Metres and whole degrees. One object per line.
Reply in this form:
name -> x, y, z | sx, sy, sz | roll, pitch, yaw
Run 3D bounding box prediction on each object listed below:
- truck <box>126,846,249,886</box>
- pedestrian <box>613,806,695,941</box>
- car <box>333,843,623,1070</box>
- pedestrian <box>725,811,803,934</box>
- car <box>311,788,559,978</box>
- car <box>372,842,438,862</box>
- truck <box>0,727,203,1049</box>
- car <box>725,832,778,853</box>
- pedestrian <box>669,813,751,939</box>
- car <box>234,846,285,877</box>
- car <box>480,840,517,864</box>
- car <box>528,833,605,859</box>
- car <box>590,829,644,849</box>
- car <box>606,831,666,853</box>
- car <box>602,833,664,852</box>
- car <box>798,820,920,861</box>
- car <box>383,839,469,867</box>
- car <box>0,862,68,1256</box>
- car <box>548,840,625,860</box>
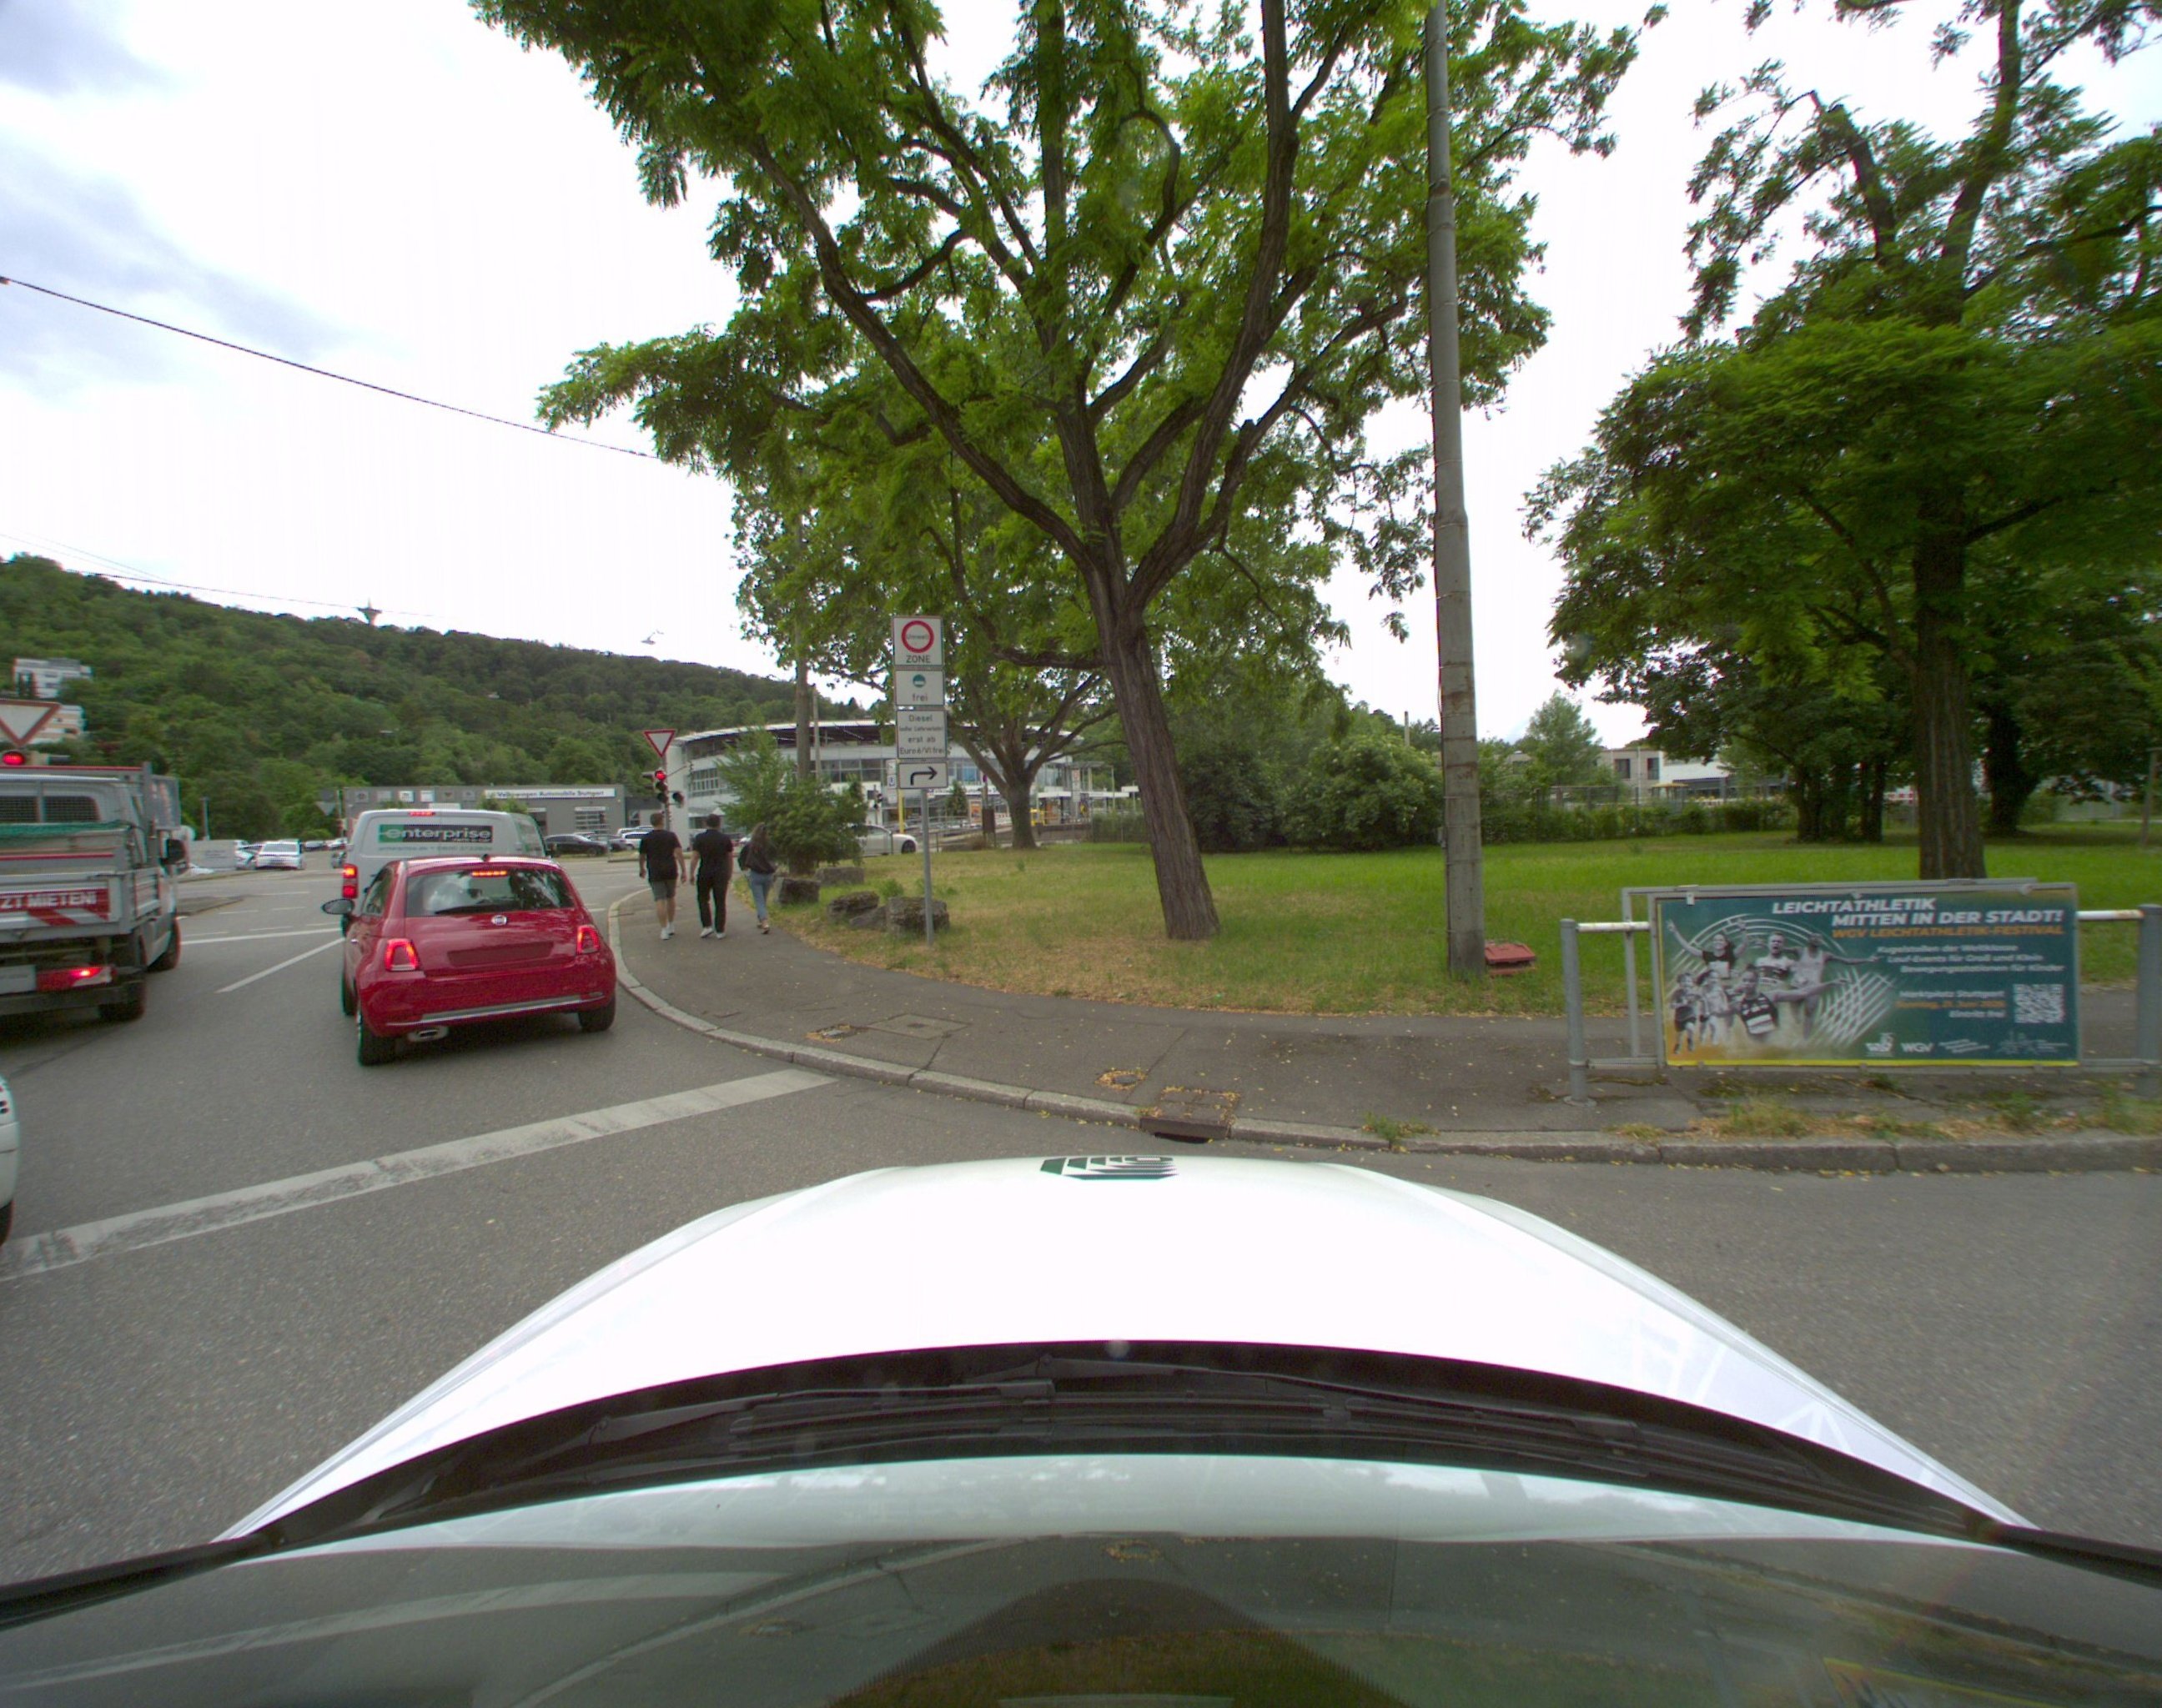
truck -> -60.540, 0.760, 55.309 | 1.974, 2.392, 5.234 | -1, 3, 30
pedestrian -> -6.148, 0.257, 11.731 | 0.778, 1.857, 0.700 | -1, 3, 40
car -> -5.447, 0.670, 7.198 | 1.653, 1.456, 3.389 | -3, 2, -43
pedestrian -> -4.689, 0.251, 12.057 | 0.778, 1.739, 0.700 | -1, 3, 40
car -> -8.909, 0.253, 11.732 | 2.002, 2.106, 4.716 | -4, 3, -30
car -> -59.118, -0.205, 71.334 | 4.100, 1.533, 1.760 | -3, 3, -28
truck -> -10.493, 0.278, 7.838 | 5.954, 2.397, 2.444 | 0, 3, 45
car -> -26.606, -0.930, 65.729 | 3.971, 1.500, 1.787 | -1, 2, 27
pedestrian -> -5.281, 0.289, 11.597 | 0.778, 1.714, 0.700 | -1, 3, 40
car -> -51.955, 0.427, 51.578 | 1.876, 1.817, 4.350 | -4, 3, -41
car -> -47.582, -0.175, 66.542 | 2.006, 1.815, 3.962 | -3, 3, -30
car -> -34.333, -0.543, 54.460 | 3.876, 1.500, 1.767 | -3, 2, -15
car -> -48.995, -1.598, 86.004 | 4.826, 1.802, 1.759 | -3, 3, -30
car -> -41.921, -1.172, 76.813 | 4.826, 1.802, 1.759 | -3, 3, -30
car -> -40.463, -1.063, 73.630 | 4.826, 1.533, 1.759 | -3, 3, -30
car -> -9.505, -0.625, 35.246 | 1.781, 1.507, 4.929 | 1, 4, 40
car -> -49.705, -0.115, 61.890 | 4.716, 1.903, 1.760 | -3, 2, -27
car -> -5.805, 0.826, 3.113 | 3.388, 1.432, 1.654 | -1, 3, 26
car -> -38.133, -0.342, 62.916 | 4.685, 1.327, 1.765 | -3, 2, -19
